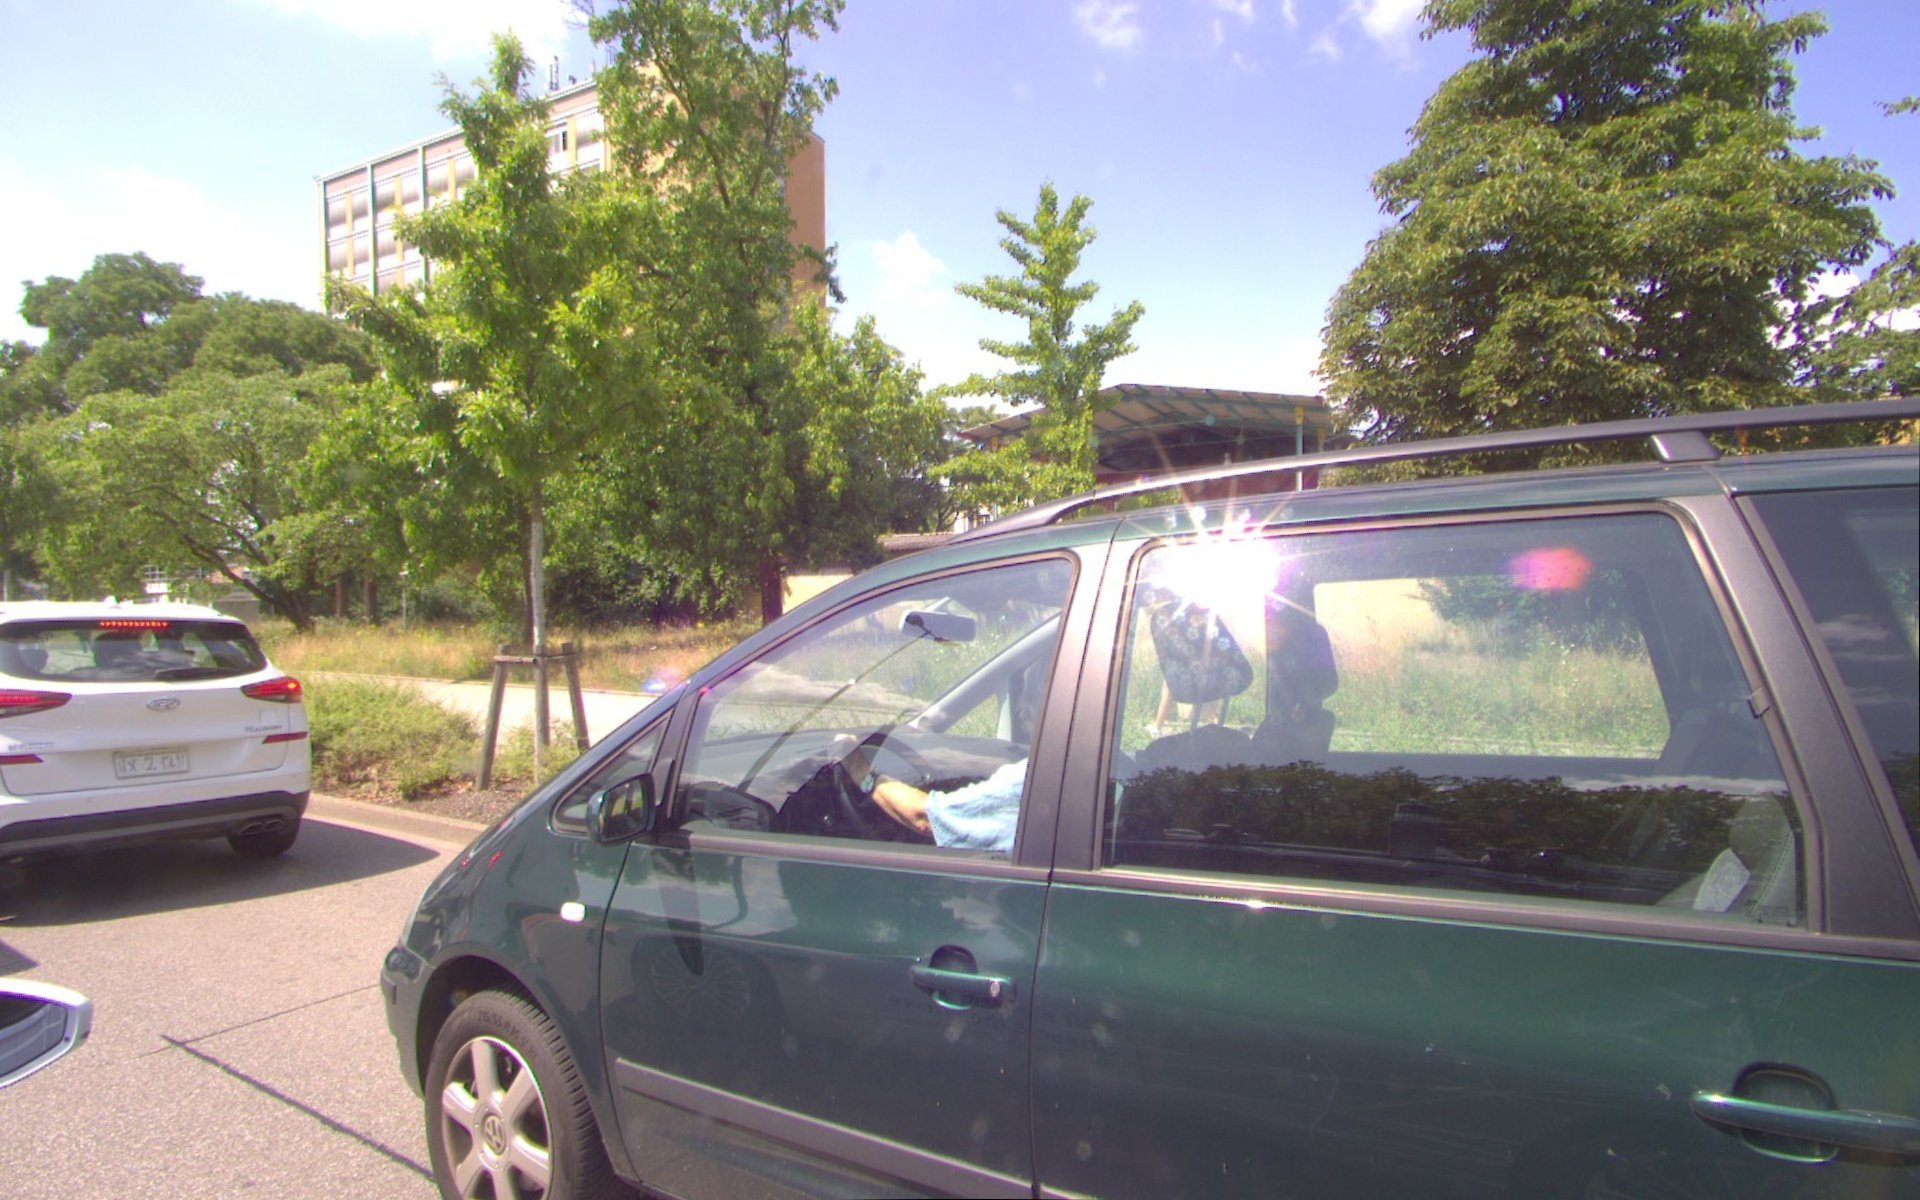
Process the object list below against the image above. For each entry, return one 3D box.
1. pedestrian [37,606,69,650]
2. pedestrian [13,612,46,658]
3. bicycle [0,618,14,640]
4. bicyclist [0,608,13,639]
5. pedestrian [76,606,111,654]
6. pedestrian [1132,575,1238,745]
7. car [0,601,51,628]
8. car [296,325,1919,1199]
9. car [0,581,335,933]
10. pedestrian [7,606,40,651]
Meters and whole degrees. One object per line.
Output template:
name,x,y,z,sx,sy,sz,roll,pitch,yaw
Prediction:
pedestrian,-39.445,1.204,43.569,0.803,1.874,0.759,0,0,24
pedestrian,-34.681,1.280,37.326,0.805,1.677,0.756,0,1,36
bicycle,-68.092,2.070,70.938,1.415,1.483,4.270,0,0,-42
bicyclist,-68.115,1.654,70.936,1.422,2.200,1.326,-1,1,-43
pedestrian,-34.447,1.185,39.819,0.802,1.874,0.759,0,1,24
pedestrian,2.219,0.562,9.865,0.805,1.578,0.756,0,1,35
car,-99.772,1.570,104.673,2.448,2.751,7.087,0,-2,7
car,0.547,0.634,2.290,4.329,1.737,1.799,0,-2,32
car,-5.921,0.772,6.430,3.919,1.700,1.810,0,0,34
pedestrian,-39.784,1.195,42.537,0.802,1.874,0.759,0,1,22
